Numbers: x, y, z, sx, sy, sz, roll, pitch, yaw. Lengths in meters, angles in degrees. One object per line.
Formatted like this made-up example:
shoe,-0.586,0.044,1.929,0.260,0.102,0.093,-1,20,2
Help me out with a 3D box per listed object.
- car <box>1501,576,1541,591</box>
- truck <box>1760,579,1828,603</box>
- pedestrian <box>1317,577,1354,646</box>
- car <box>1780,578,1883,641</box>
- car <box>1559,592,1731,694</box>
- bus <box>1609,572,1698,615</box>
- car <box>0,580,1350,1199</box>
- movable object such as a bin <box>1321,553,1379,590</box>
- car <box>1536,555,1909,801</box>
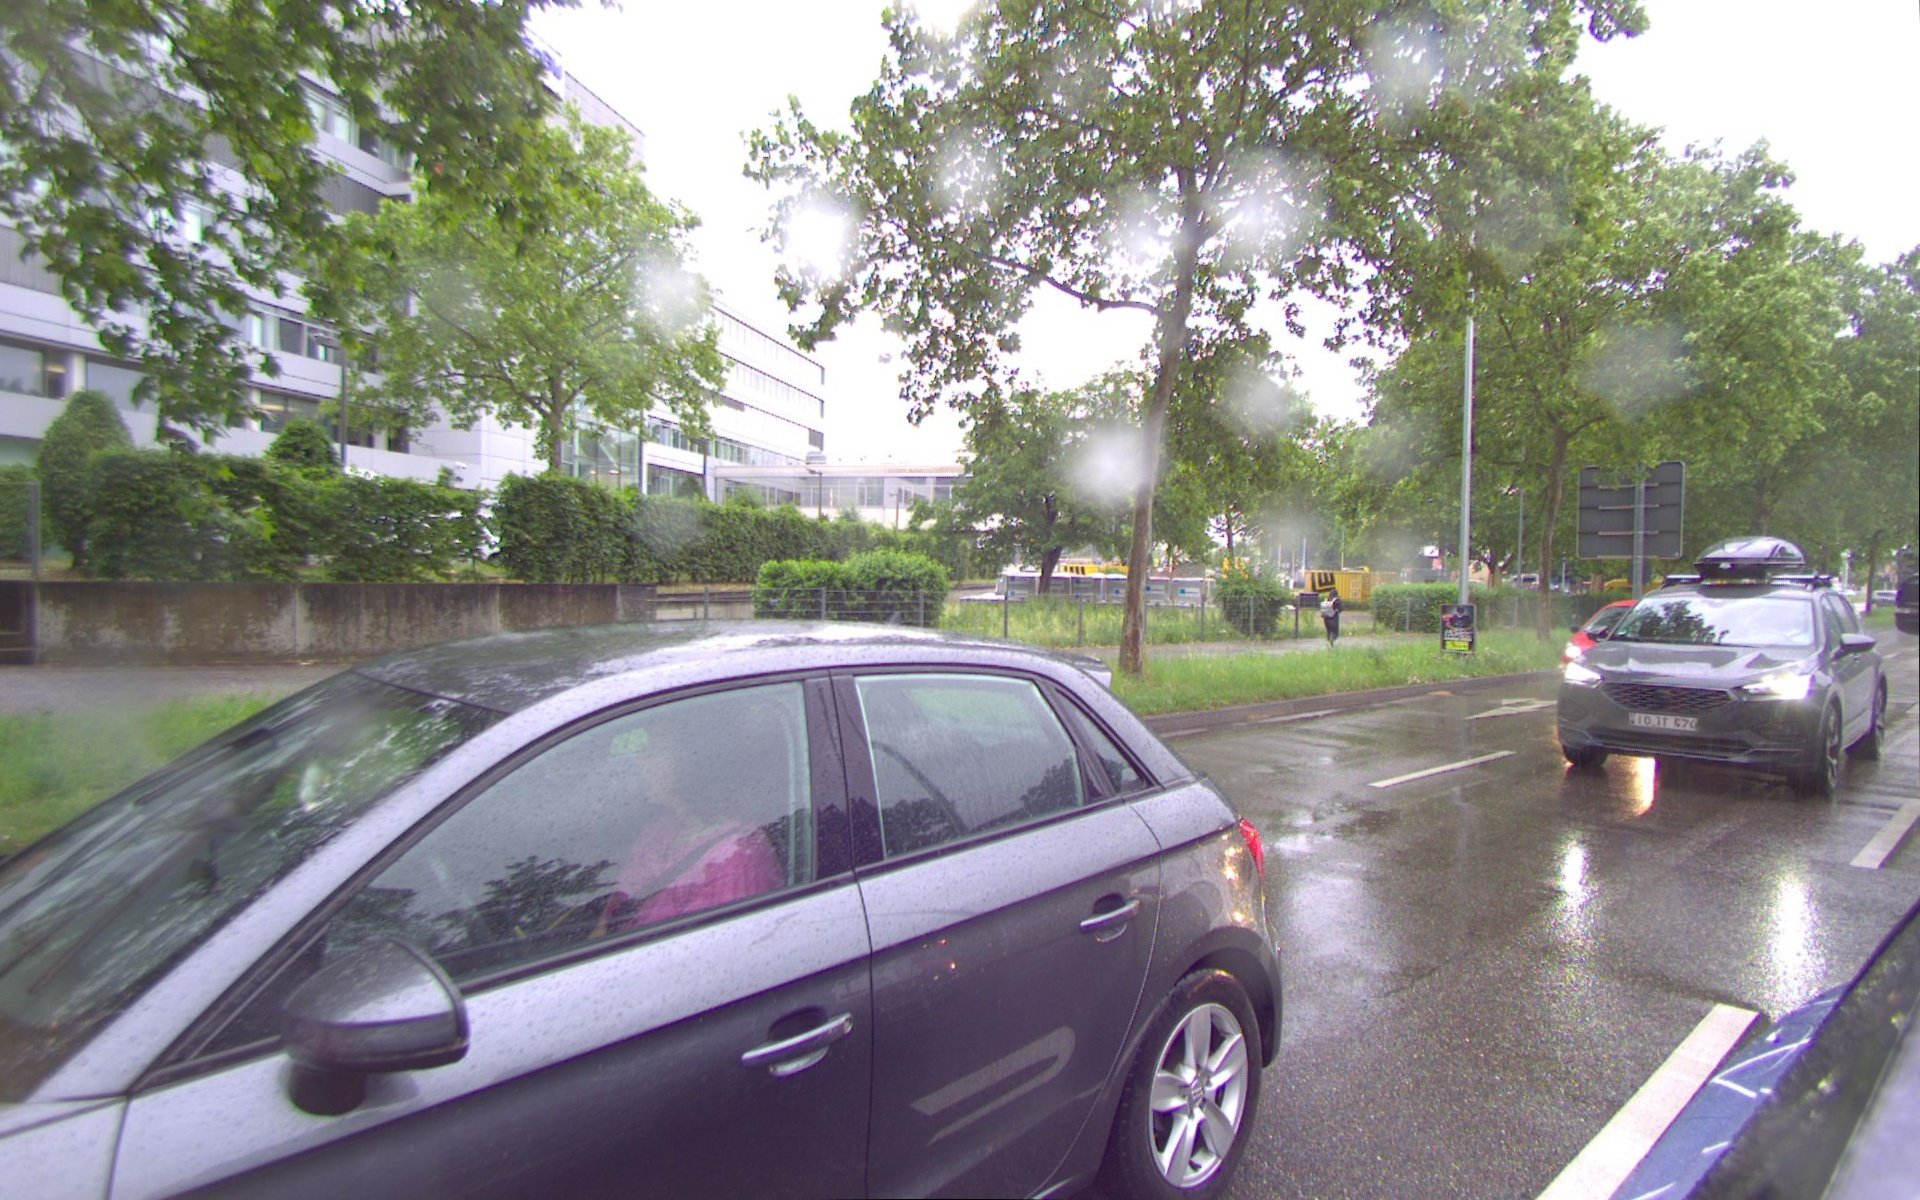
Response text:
car,53.165,-1.577,95.944,3.115,1.346,1.419,0,0,23
truck,85.211,-0.907,103.457,4.988,2.406,1.785,0,0,19
pedestrian,9.606,0.283,25.904,0.645,1.738,0.645,0,0,-40
car,25.366,0.294,29.421,4.074,1.707,1.677,1,-1,-41
car,11.214,0.622,16.497,3.331,1.481,1.571,0,0,-42
bus,43.739,-0.412,63.913,1.681,2.600,4.366,0,0,-41
car,-0.890,0.693,2.157,3.715,1.446,1.679,0,1,-41
movable object such as a bin,36.801,-2.676,95.648,4.864,3.478,1.911,0,0,14
car,7.096,0.517,9.238,4.347,1.719,1.892,0,1,-42
